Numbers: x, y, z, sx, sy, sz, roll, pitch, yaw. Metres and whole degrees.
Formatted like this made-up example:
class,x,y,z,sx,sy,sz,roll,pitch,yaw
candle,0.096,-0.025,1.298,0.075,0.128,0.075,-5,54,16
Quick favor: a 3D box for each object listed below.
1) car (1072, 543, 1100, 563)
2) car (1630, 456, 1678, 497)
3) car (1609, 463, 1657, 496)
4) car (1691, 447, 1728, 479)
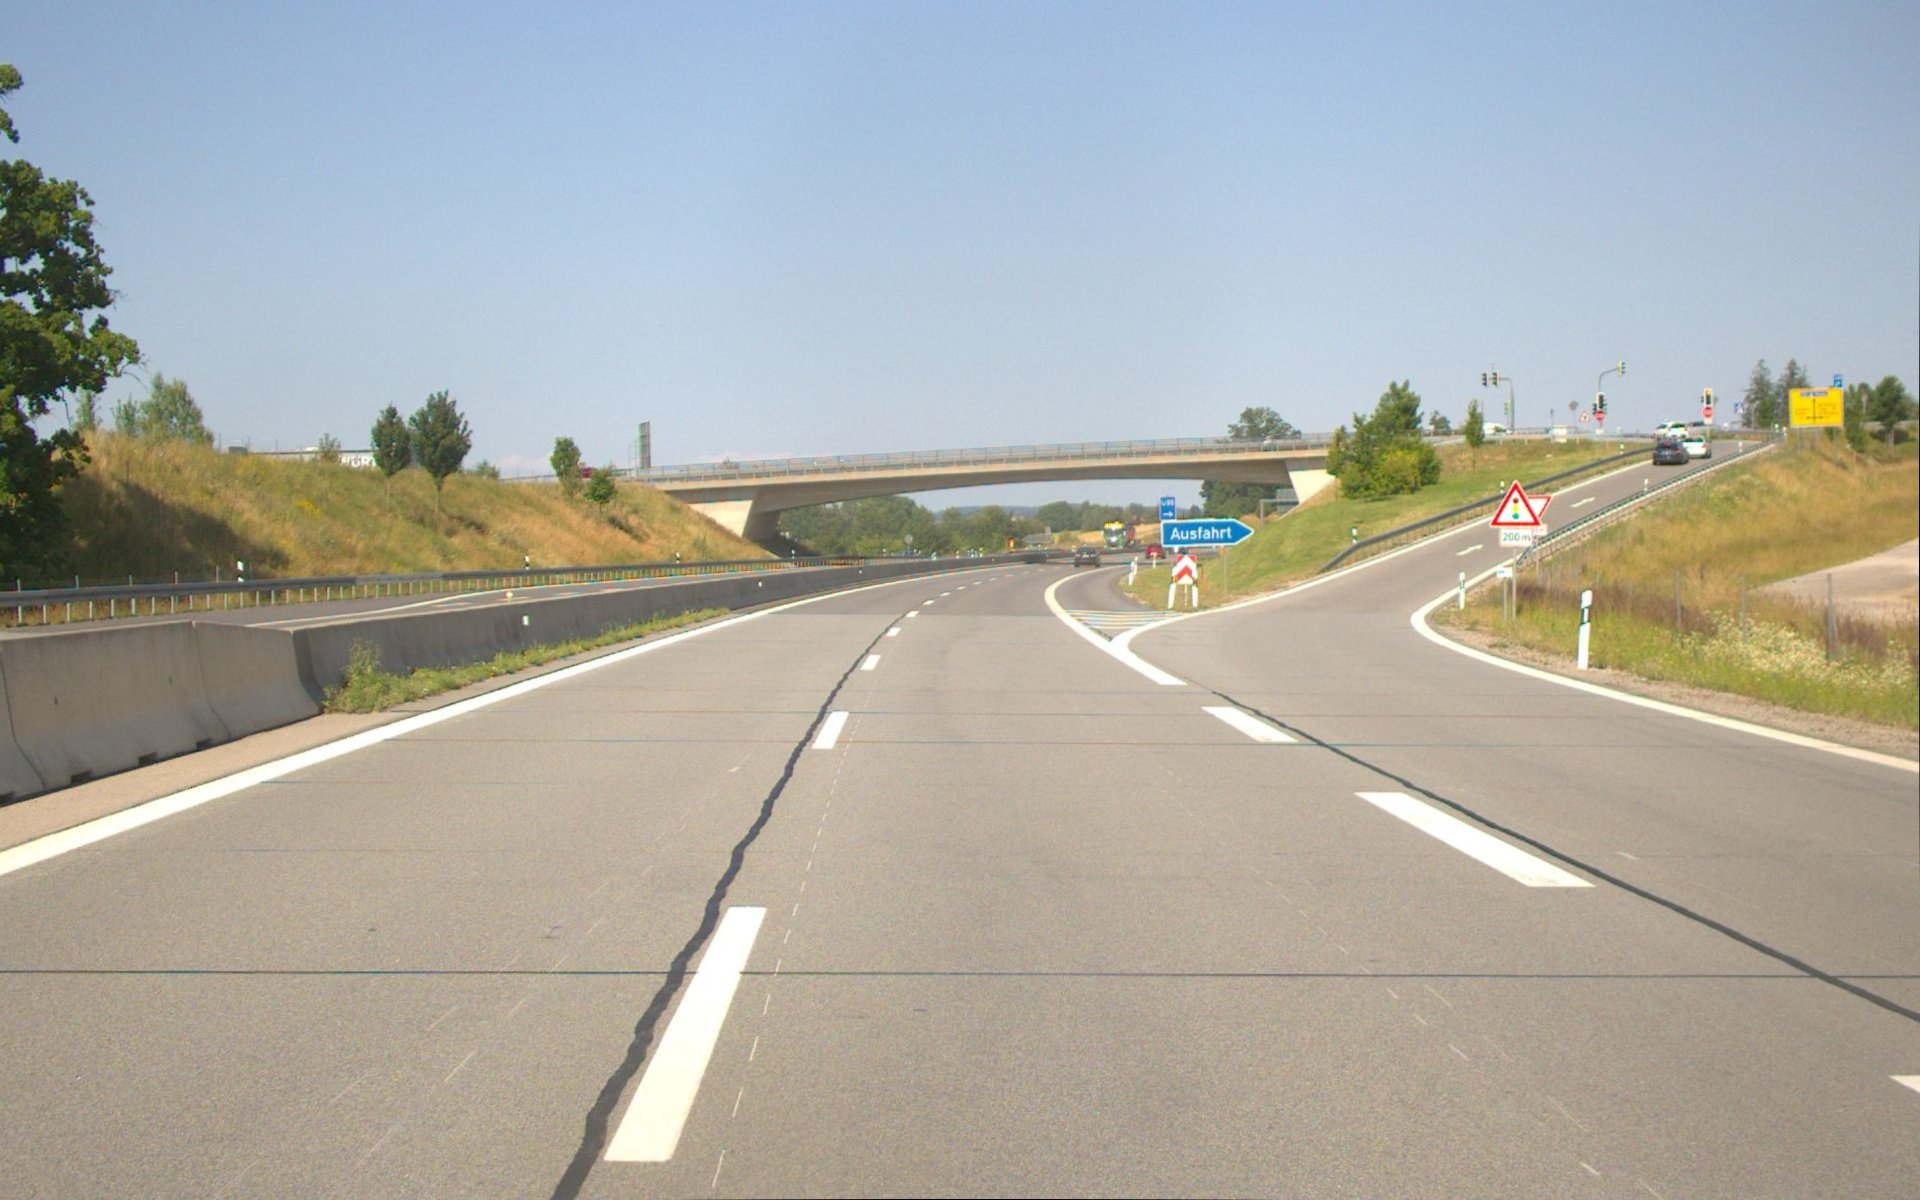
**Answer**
class,x,y,z,sx,sy,sz,roll,pitch,yaw
car,9.218,-3.443,251.448,1.993,1.415,4.000,-2,1,1
car,36.225,-6.419,179.338,1.995,2.007,3.997,-2,1,17
car,34.928,-6.239,178.459,1.995,1.612,3.997,-2,1,17
car,48.621,-8.874,222.968,1.995,2.007,3.997,-2,1,17
